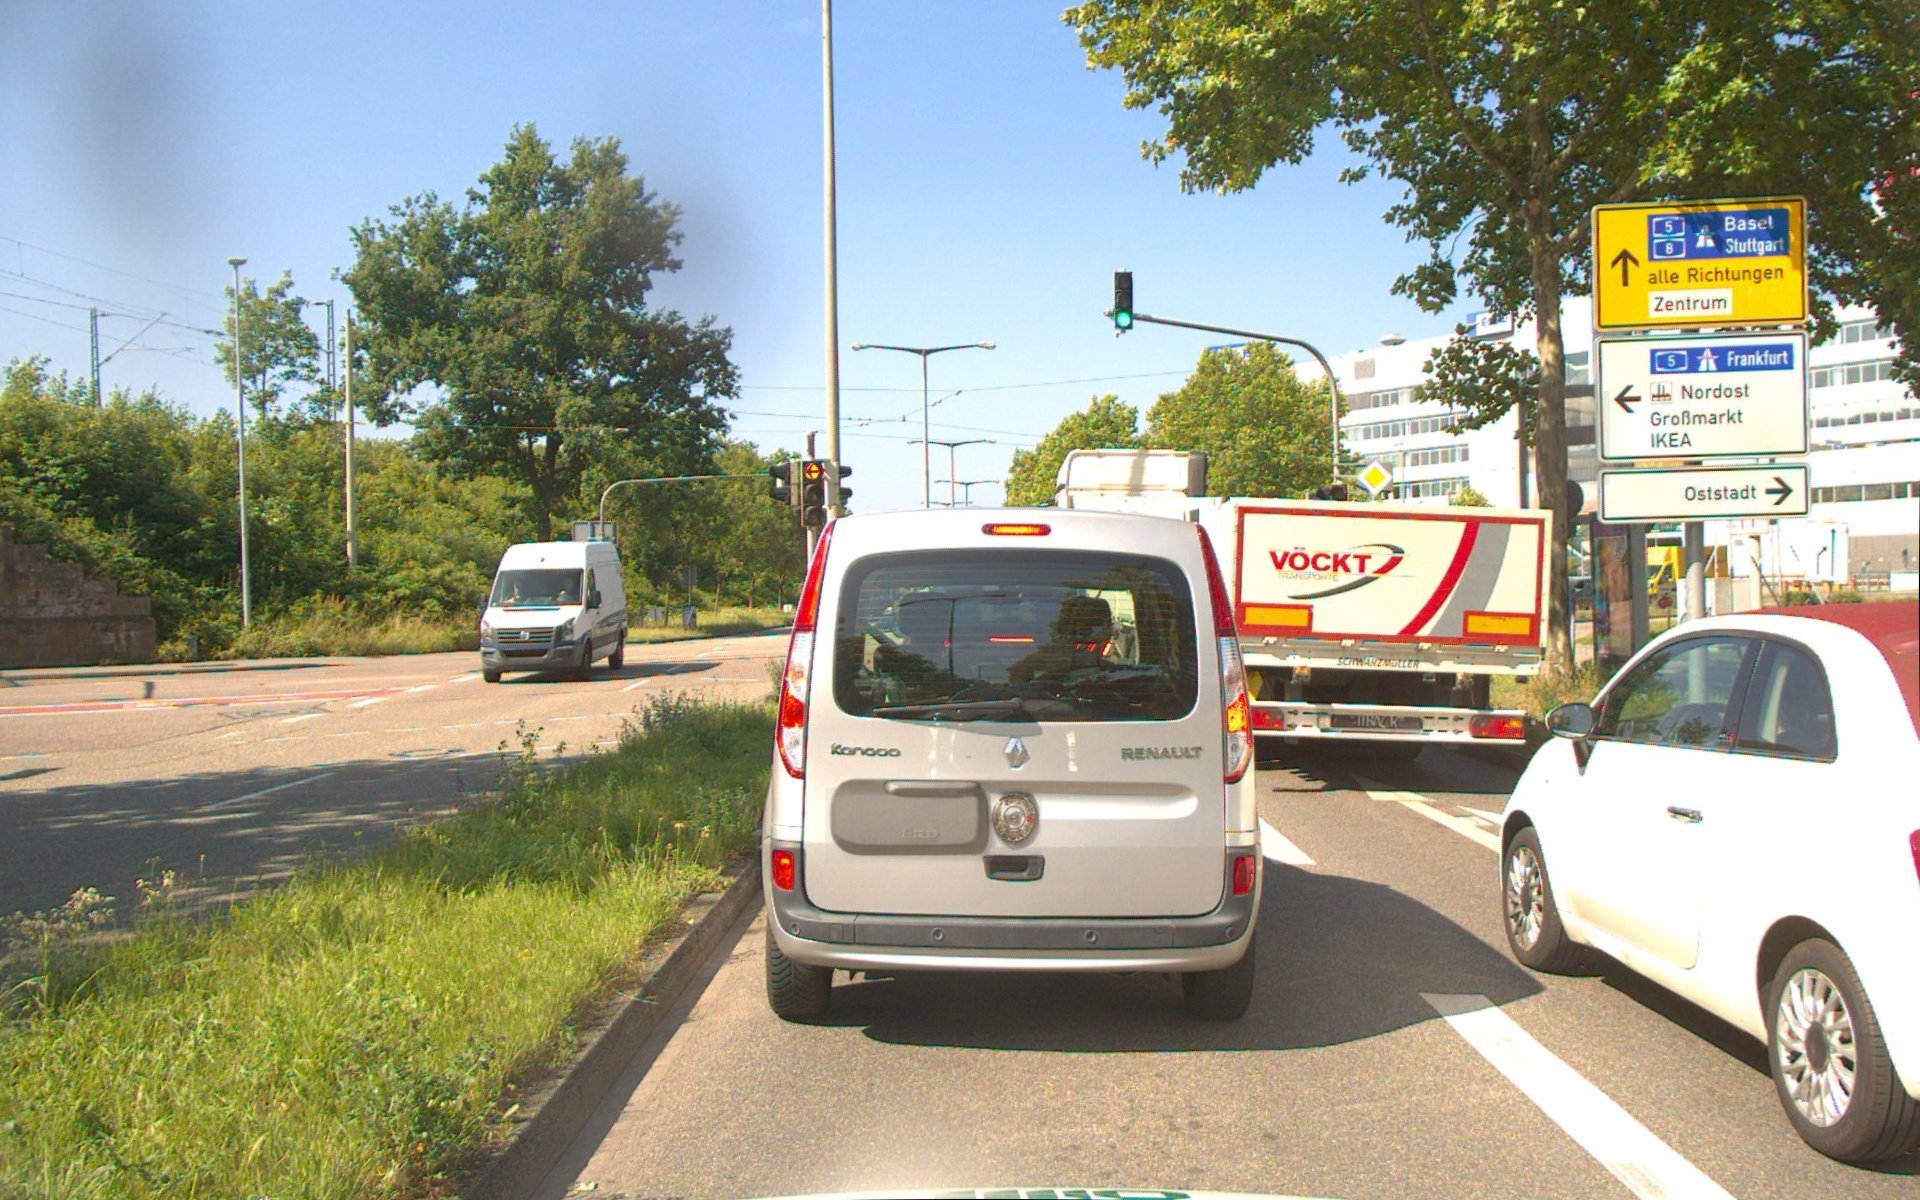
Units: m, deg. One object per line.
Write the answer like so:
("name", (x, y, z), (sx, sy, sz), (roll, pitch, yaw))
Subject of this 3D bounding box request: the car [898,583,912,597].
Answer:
("car", (-8.309, -1.574, 250.729), (1.849, 2.049, 4.001), (1, 0, 1))

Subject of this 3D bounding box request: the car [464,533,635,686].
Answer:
("car", (-8.019, 0.162, 32.898), (1.953, 2.709, 5.785), (-2, 0, -1))

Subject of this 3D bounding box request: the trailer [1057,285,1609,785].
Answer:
("trailer", (3.178, -0.454, 18.701), (2.842, 3.686, 12.679), (1, 0, -2))

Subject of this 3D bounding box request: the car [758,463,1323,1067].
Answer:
("car", (0.229, 0.529, 7.199), (1.750, 1.870, 3.999), (1, 0, -1))

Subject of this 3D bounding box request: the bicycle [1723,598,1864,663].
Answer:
("bicycle", (13.667, 0.499, 27.162), (1.959, 1.031, 0.621), (-1, 0, 16))

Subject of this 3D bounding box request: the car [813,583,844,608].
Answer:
("car", (-8.435, -0.306, 106.188), (1.665, 1.534, 3.999), (-1, 1, -1))

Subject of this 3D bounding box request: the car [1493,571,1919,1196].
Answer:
("car", (3.109, 0.718, 5.596), (1.507, 1.541, 3.259), (1, 0, -1))

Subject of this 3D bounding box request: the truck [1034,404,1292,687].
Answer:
("truck", (2.858, -0.708, 25.522), (2.852, 3.707, 7.187), (1, 0, -2))

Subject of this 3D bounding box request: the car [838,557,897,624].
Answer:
("car", (-3.844, -0.364, 69.649), (1.952, 2.653, 5.135), (-1, 0, 2))
